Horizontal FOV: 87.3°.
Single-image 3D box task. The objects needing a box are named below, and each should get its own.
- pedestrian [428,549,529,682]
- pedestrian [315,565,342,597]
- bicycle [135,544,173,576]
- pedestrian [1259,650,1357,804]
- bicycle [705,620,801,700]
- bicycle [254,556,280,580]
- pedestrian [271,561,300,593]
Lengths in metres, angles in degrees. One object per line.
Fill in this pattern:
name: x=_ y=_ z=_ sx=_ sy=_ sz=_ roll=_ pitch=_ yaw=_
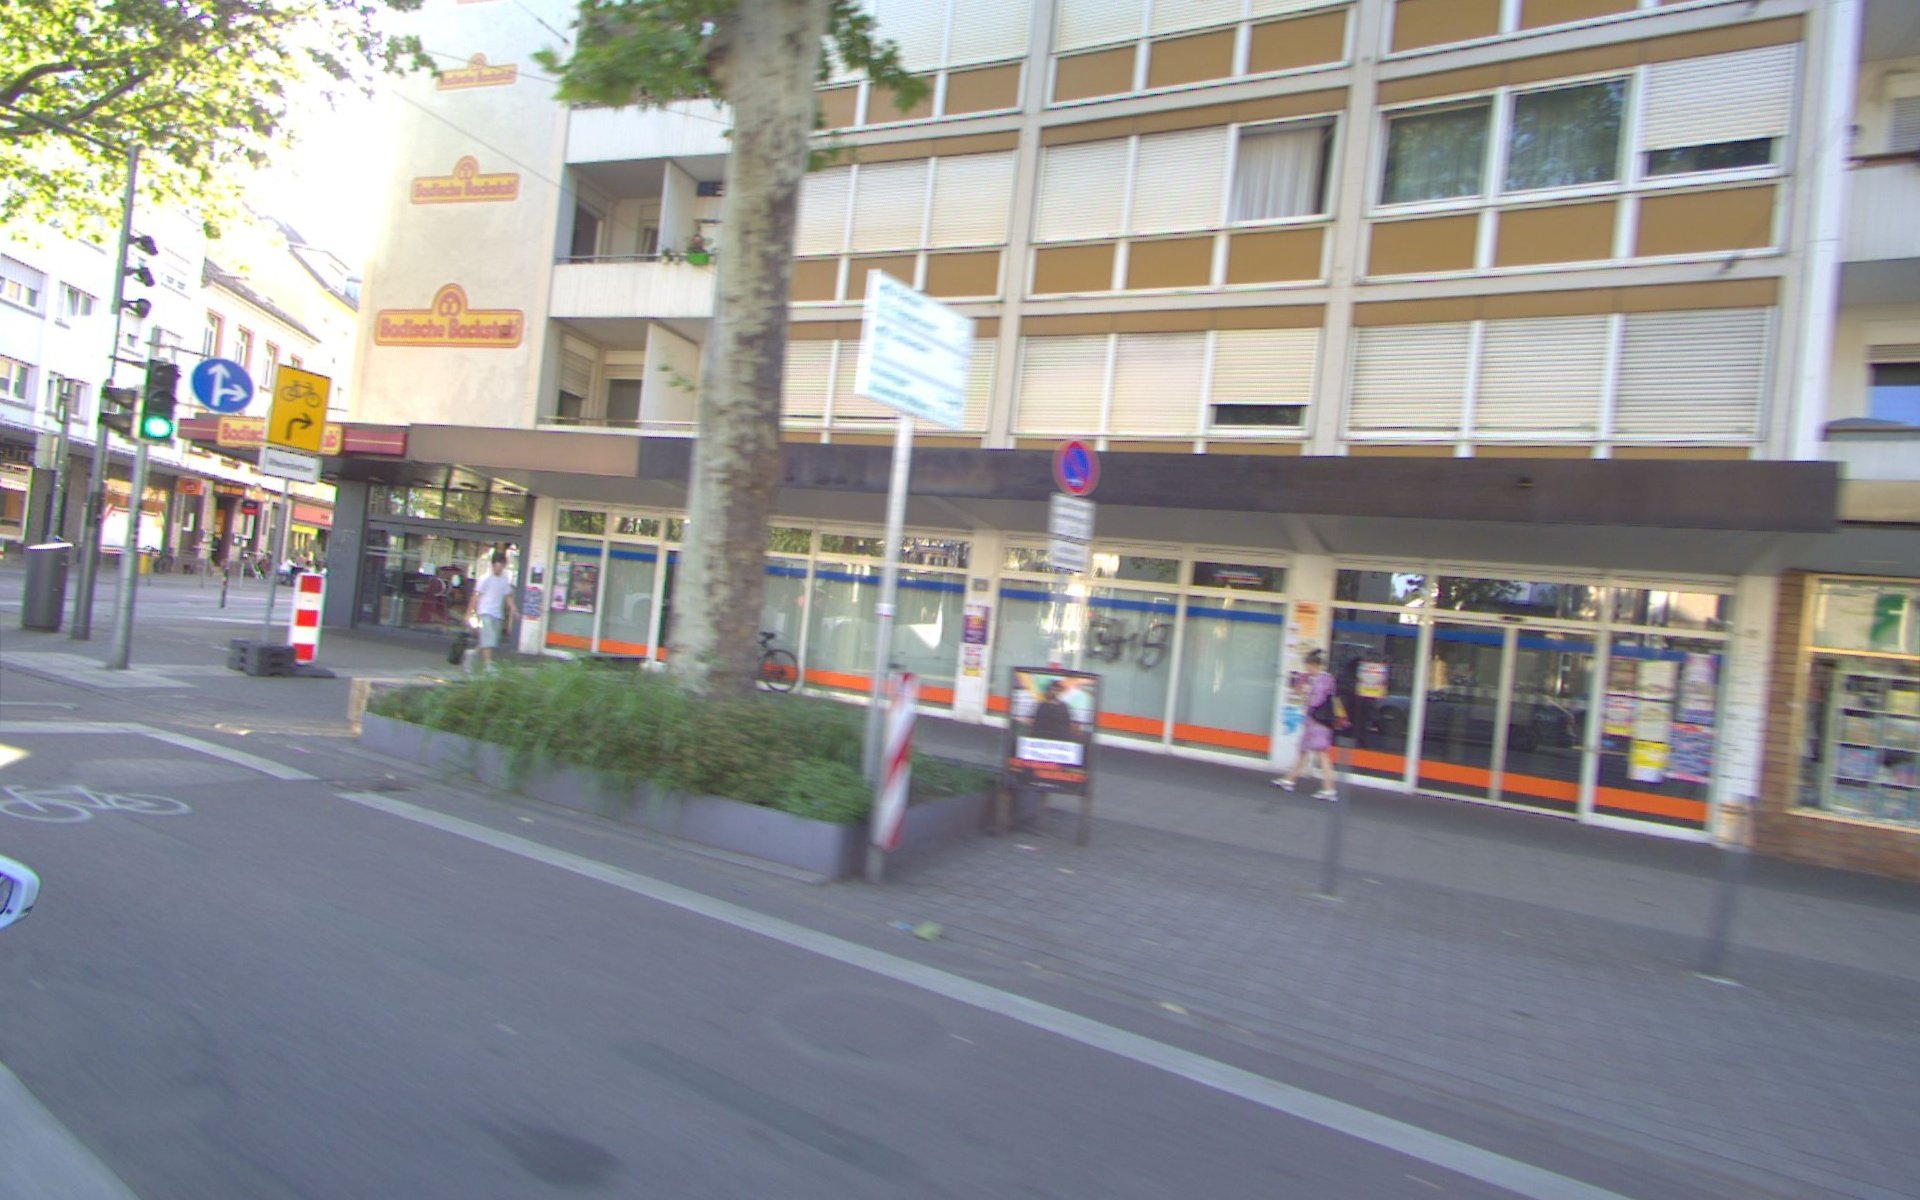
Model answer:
pedestrian: x=-6.765 y=0.222 z=14.166 sx=0.778 sy=1.734 sz=0.837 roll=7 pitch=1 yaw=18
pedestrian: x=-27.277 y=-0.811 z=43.480 sx=0.683 sy=1.257 sz=0.597 roll=8 pitch=-2 yaw=-15
bicycle: x=-29.621 y=-1.444 z=36.990 sx=0.290 sy=1.053 sz=1.715 roll=4 pitch=-1 yaw=-12
pedestrian: x=3.888 y=1.392 z=11.226 sx=0.794 sy=1.571 sz=0.640 roll=6 pitch=0 yaw=29
bicycle: x=-3.348 y=0.948 z=16.242 sx=1.435 sy=1.107 sz=0.438 roll=6 pitch=2 yaw=23
bicycle: x=-31.448 y=-1.448 z=45.683 sx=0.290 sy=1.054 sz=1.713 roll=4 pitch=1 yaw=-12
pedestrian: x=-28.850 y=-0.975 z=43.028 sx=0.719 sy=1.257 sz=0.552 roll=6 pitch=-2 yaw=23
